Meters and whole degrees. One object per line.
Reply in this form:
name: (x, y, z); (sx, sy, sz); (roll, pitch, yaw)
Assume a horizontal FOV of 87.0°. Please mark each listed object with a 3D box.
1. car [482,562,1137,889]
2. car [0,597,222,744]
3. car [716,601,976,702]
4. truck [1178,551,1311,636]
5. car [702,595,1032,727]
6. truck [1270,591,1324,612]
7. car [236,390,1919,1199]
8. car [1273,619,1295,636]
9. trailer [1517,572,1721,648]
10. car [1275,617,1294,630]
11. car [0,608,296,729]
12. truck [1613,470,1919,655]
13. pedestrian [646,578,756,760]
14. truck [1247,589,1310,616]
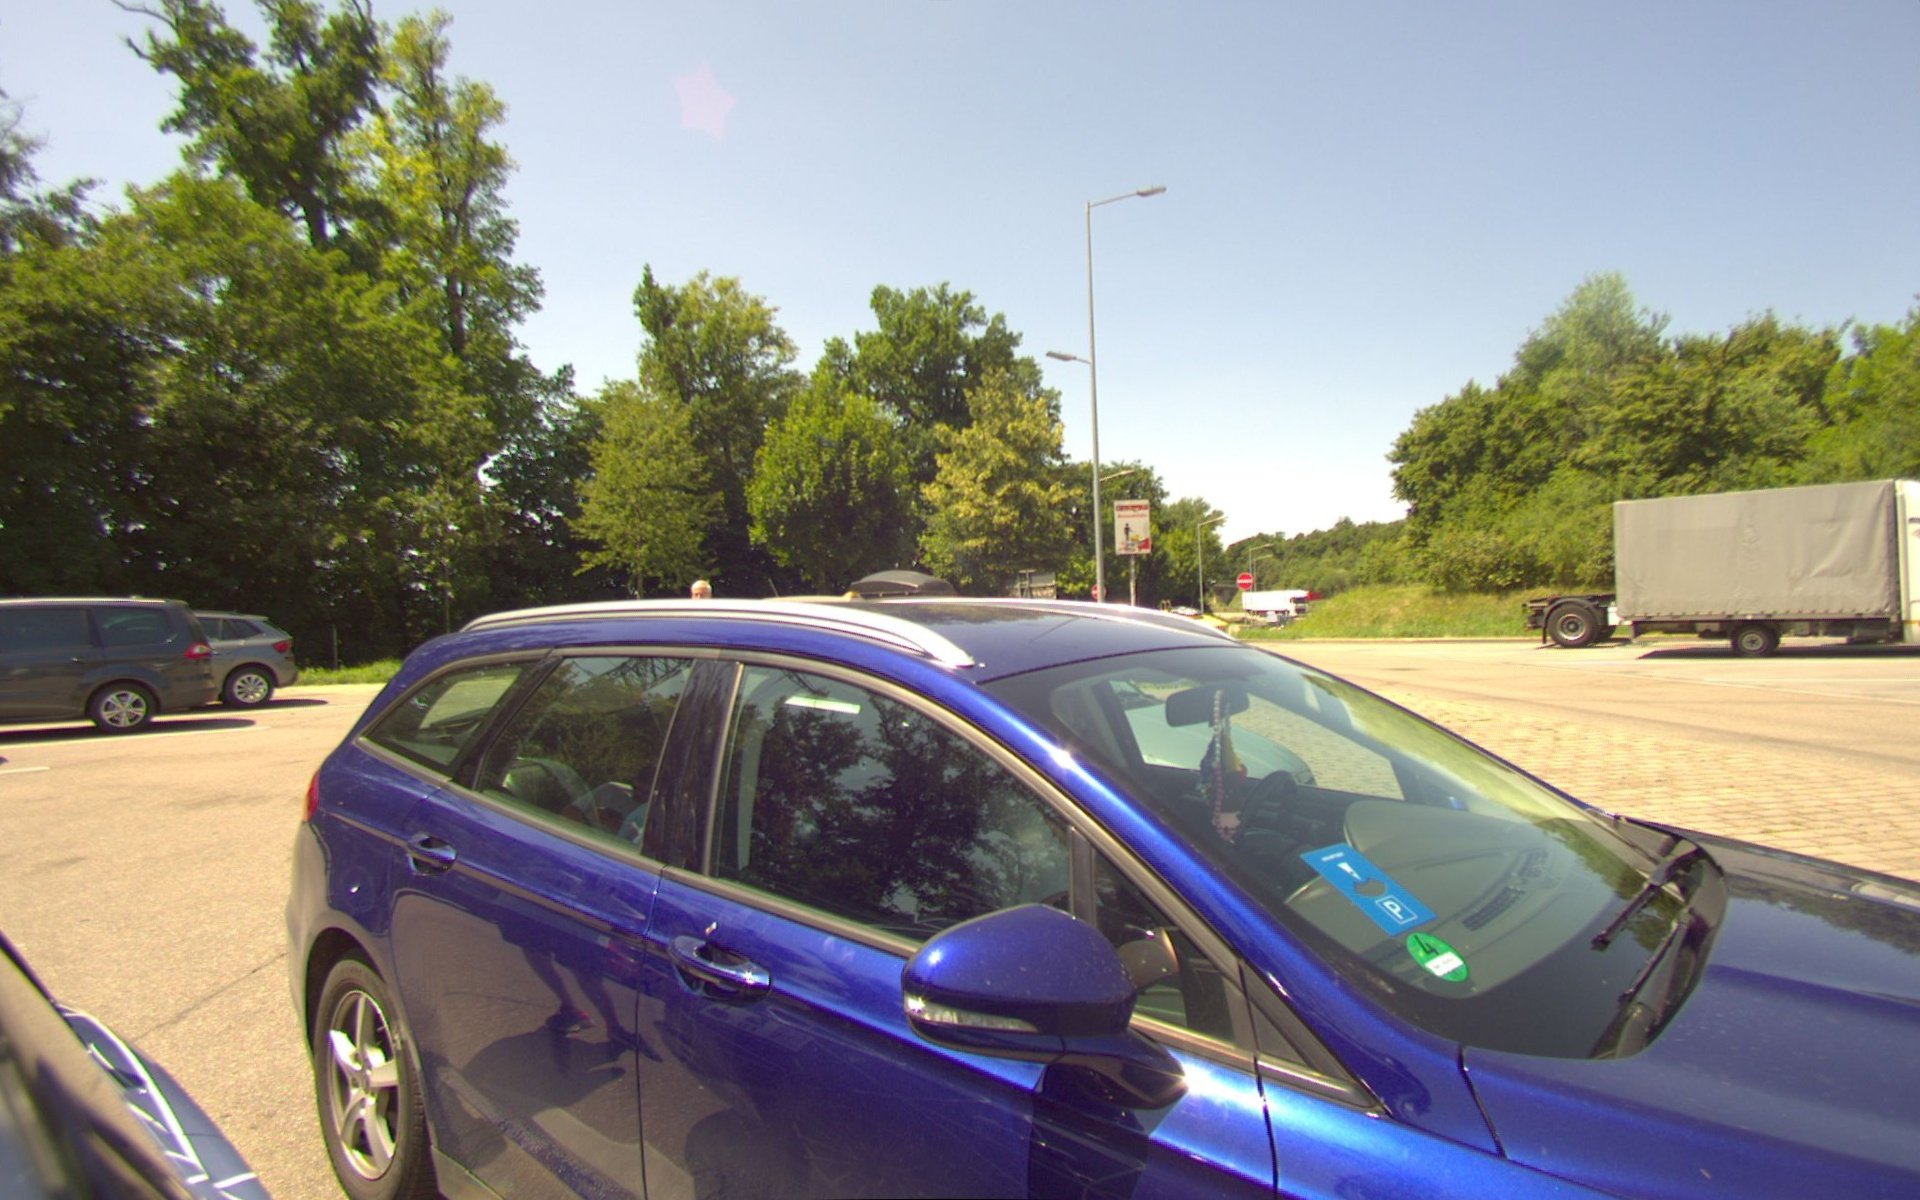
car: (-1.244, 0.635, 6.689); (4.466, 1.476, 1.756); (-3, -1, 40)
car: (-11.691, 0.853, 12.555); (3.910, 1.701, 1.782); (-1, -1, -43)
car: (-2.021, 0.833, 17.085); (4.466, 1.476, 1.756); (-3, -1, 40)
truck: (13.321, -0.242, 47.420); (5.782, 3.720, 1.987); (-2, -1, 20)
car: (-1.368, 0.761, 13.532); (4.466, 1.476, 1.756); (-3, -1, 40)
truck: (69.460, 0.410, 209.254); (3.214, 3.859, 15.640); (-1, -1, -12)
car: (0.233, 0.635, 2.101); (4.466, 1.476, 1.756); (-3, -1, 40)
car: (31.245, 2.629, 97.641); (1.703, 1.547, 3.825); (-2, -1, 22)
trailer: (15.770, 0.277, 24.322); (3.900, 1.674, 1.456); (-2, -1, 41)
car: (38.614, 2.796, 120.536); (1.983, 1.530, 3.978); (-2, -1, 17)
car: (-12.720, 0.978, 15.606); (3.910, 1.598, 1.782); (-1, -1, -43)
truck: (16.742, -0.639, 18.851); (7.347, 3.152, 2.339); (-3, -2, 41)
pedestrian: (-2.435, 0.623, 9.514); (0.759, 1.614, 0.663); (-3, -1, 41)
truck: (48.693, 0.500, 155.531); (2.851, 3.859, 15.627); (-2, -1, -7)
